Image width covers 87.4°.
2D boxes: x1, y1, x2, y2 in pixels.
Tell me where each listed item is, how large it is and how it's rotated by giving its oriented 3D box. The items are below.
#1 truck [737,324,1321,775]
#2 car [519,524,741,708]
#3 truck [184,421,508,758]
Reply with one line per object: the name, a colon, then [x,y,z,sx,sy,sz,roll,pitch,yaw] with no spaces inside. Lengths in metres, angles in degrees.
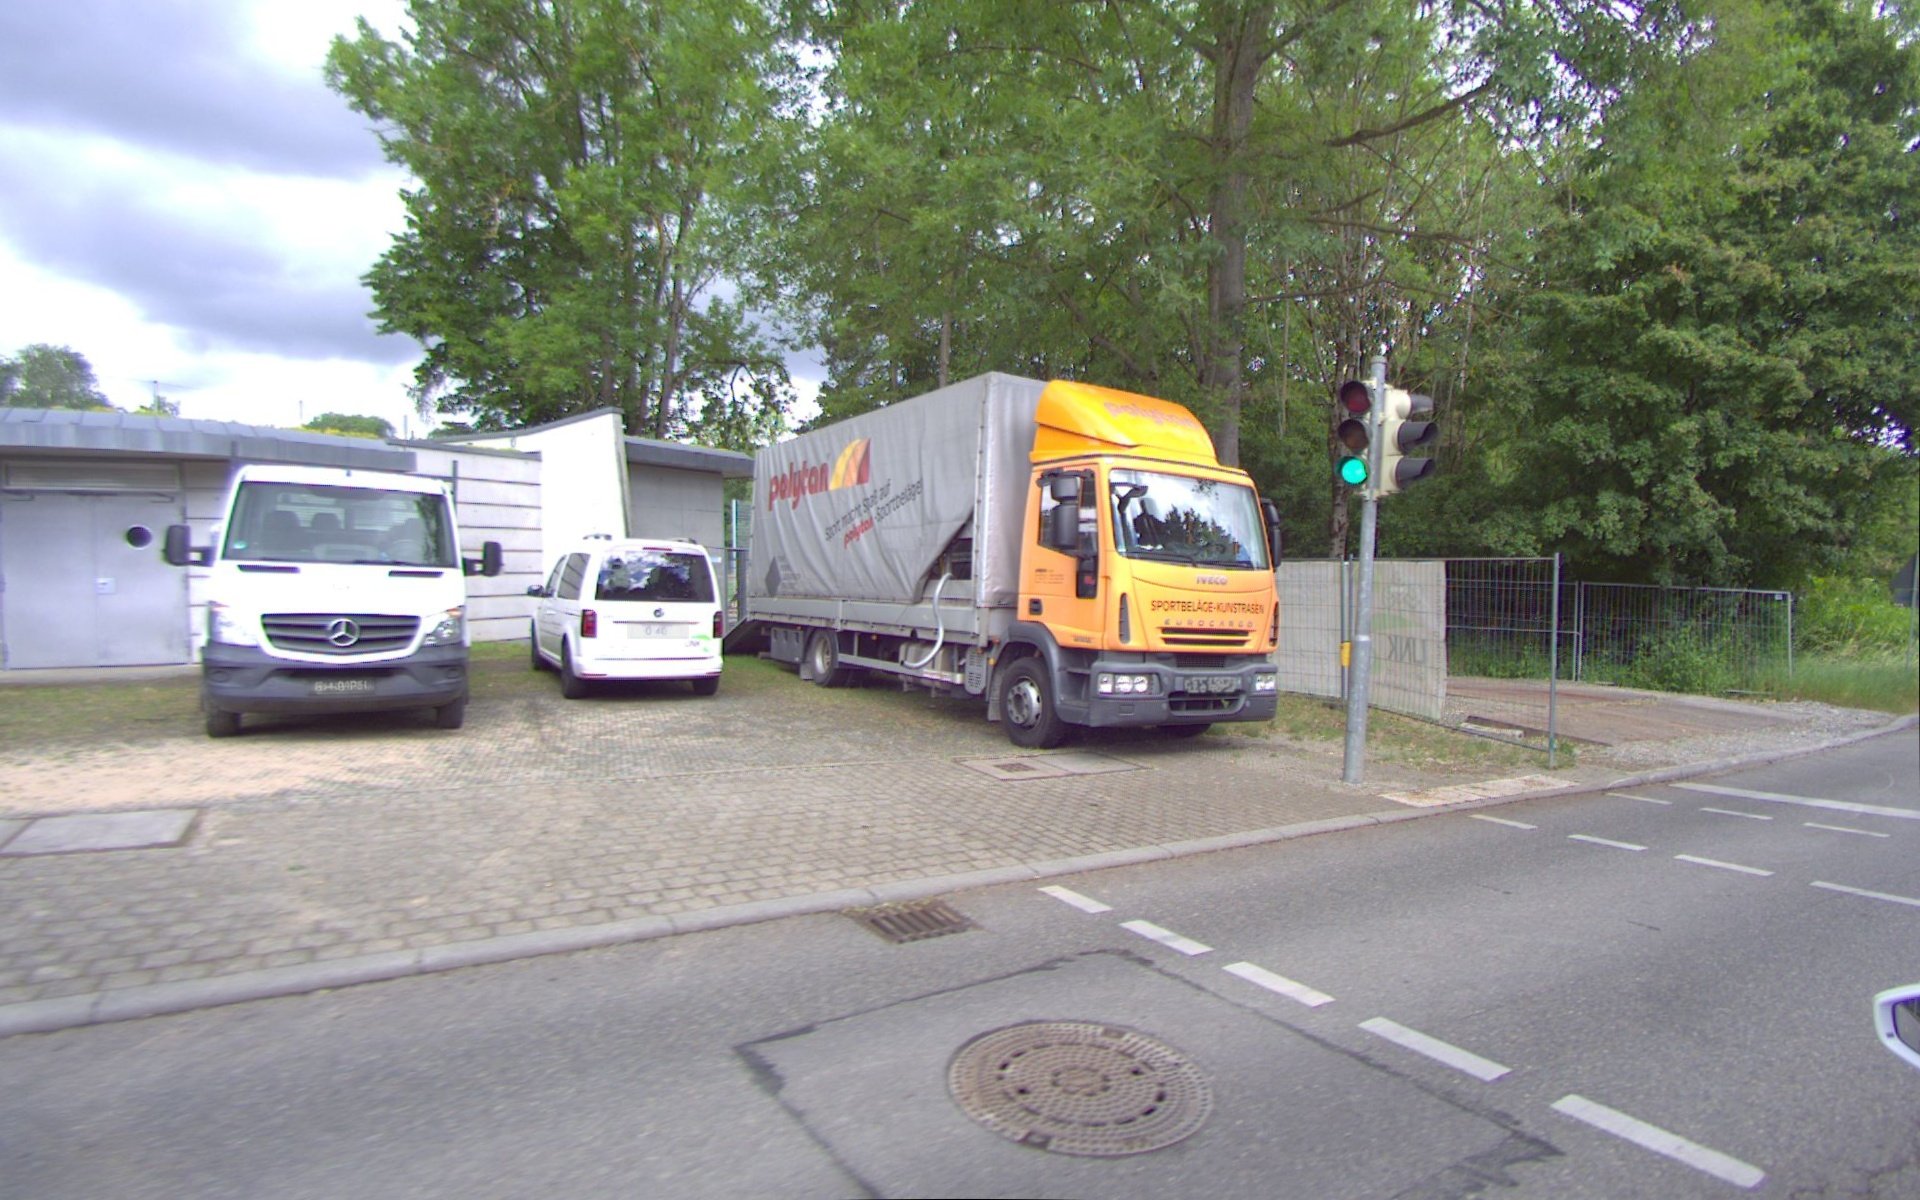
truck: [-0.115,-0.537,12.617,2.535,3.579,9.185,2,1,-30]
car: [-4.319,0.054,12.722,1.762,1.935,3.964,0,3,-32]
truck: [-6.408,-0.223,10.535,2.101,2.448,6.348,2,2,-32]
